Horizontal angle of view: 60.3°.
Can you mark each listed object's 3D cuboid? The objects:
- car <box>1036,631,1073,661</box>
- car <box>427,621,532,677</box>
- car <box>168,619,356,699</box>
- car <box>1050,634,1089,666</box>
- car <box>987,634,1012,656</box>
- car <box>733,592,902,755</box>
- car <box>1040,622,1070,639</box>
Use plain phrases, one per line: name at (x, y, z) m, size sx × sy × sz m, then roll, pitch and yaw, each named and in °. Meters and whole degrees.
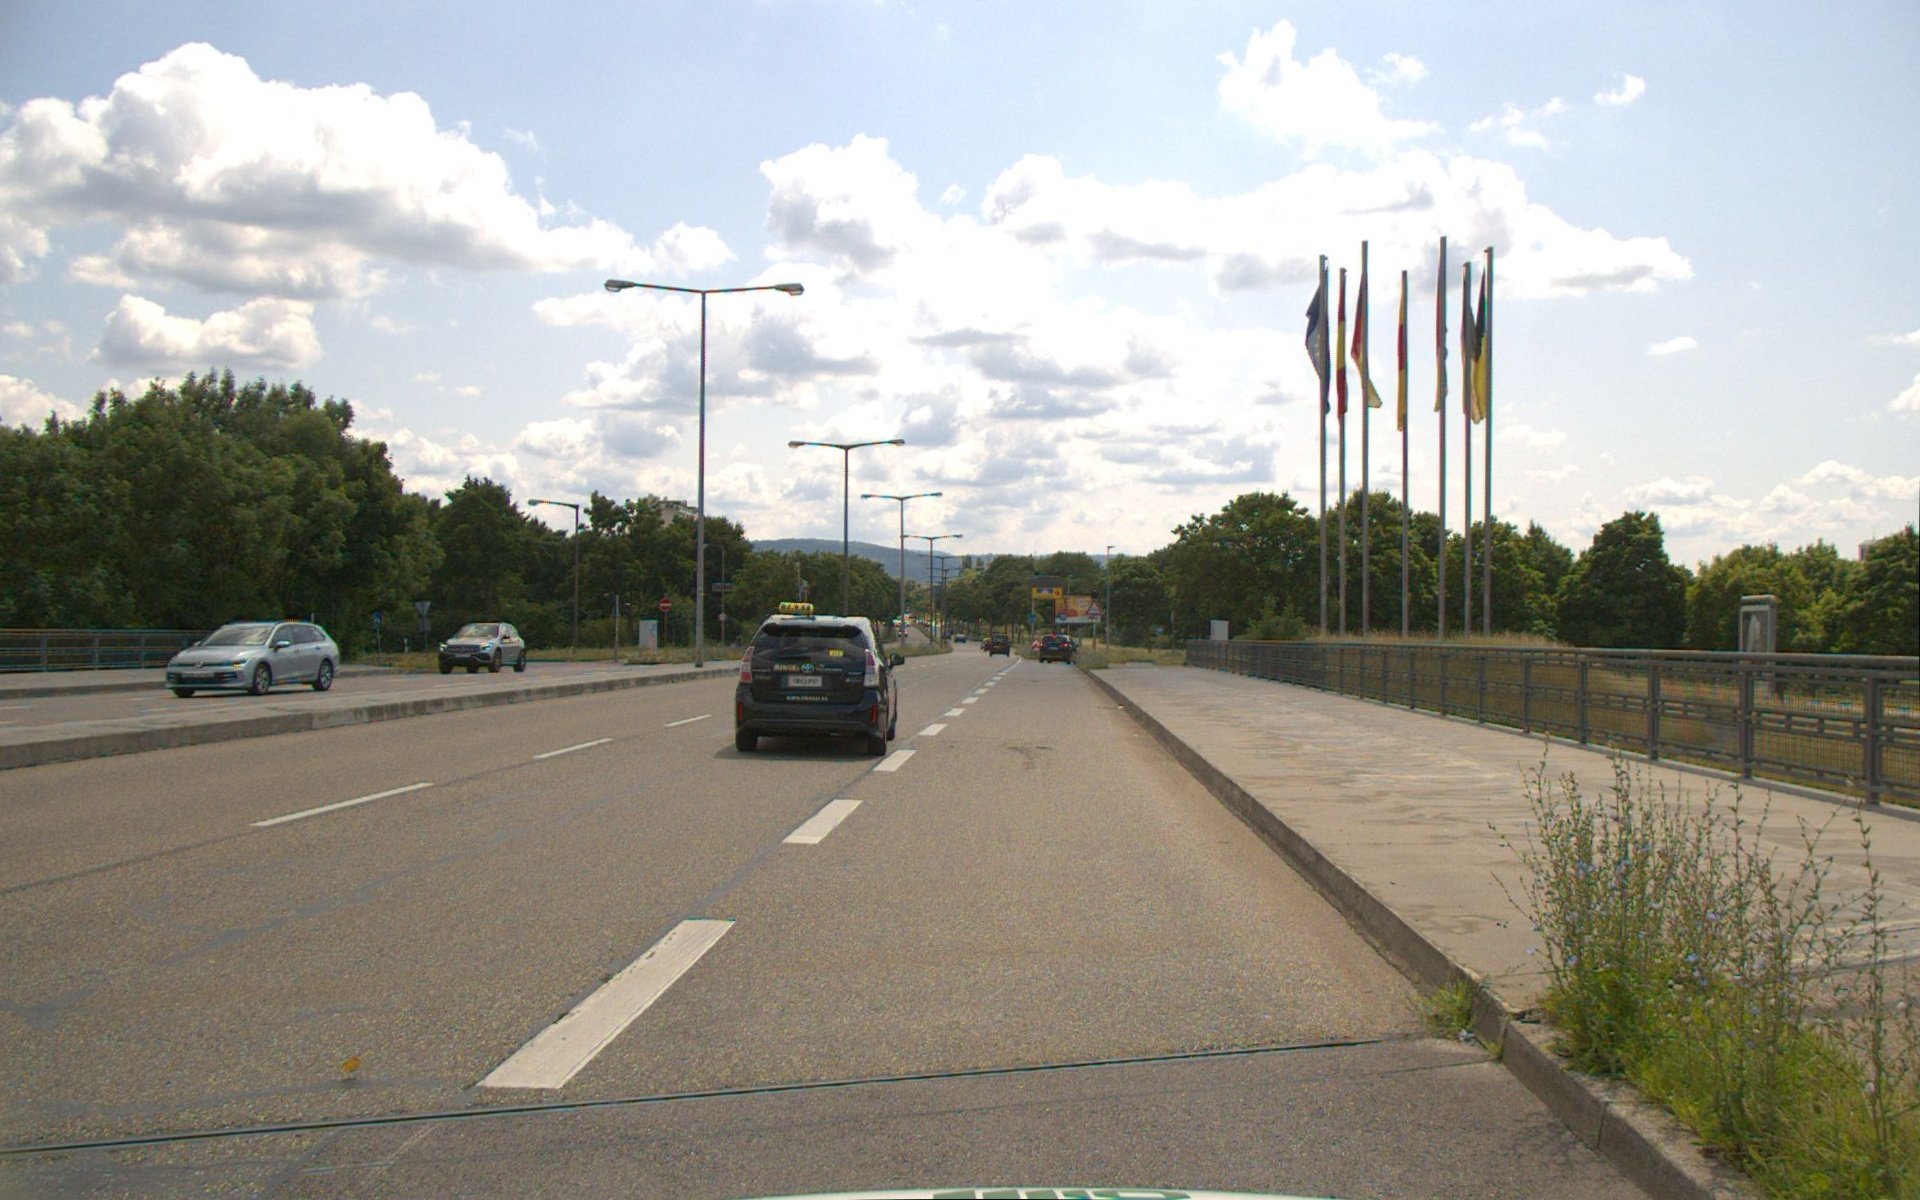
car at (5.857, 2.858, 103.110) m, size 1.953 × 1.691 × 3.999 m, roll 2°, pitch 0°, yaw -1°
car at (-15.860, 1.599, 54.835) m, size 2.045 × 1.655 × 4.550 m, roll 2°, pitch 0°, yaw 1°
car at (-14.213, 1.157, 33.986) m, size 1.628 × 1.438 × 4.552 m, roll -2°, pitch 0°, yaw 4°
car at (6.454, 2.933, 97.761) m, size 1.953 × 1.691 × 3.999 m, roll 2°, pitch 0°, yaw -1°
car at (3.325, 3.791, 140.929) m, size 1.953 × 1.691 × 3.999 m, roll 2°, pitch 0°, yaw -1°
car at (-1.621, 0.801, 20.025) m, size 1.743 × 1.713 × 3.999 m, roll 2°, pitch 0°, yaw -1°
car at (10.809, 3.460, 188.334) m, size 1.964 × 1.691 × 3.977 m, roll 2°, pitch 0°, yaw -20°
